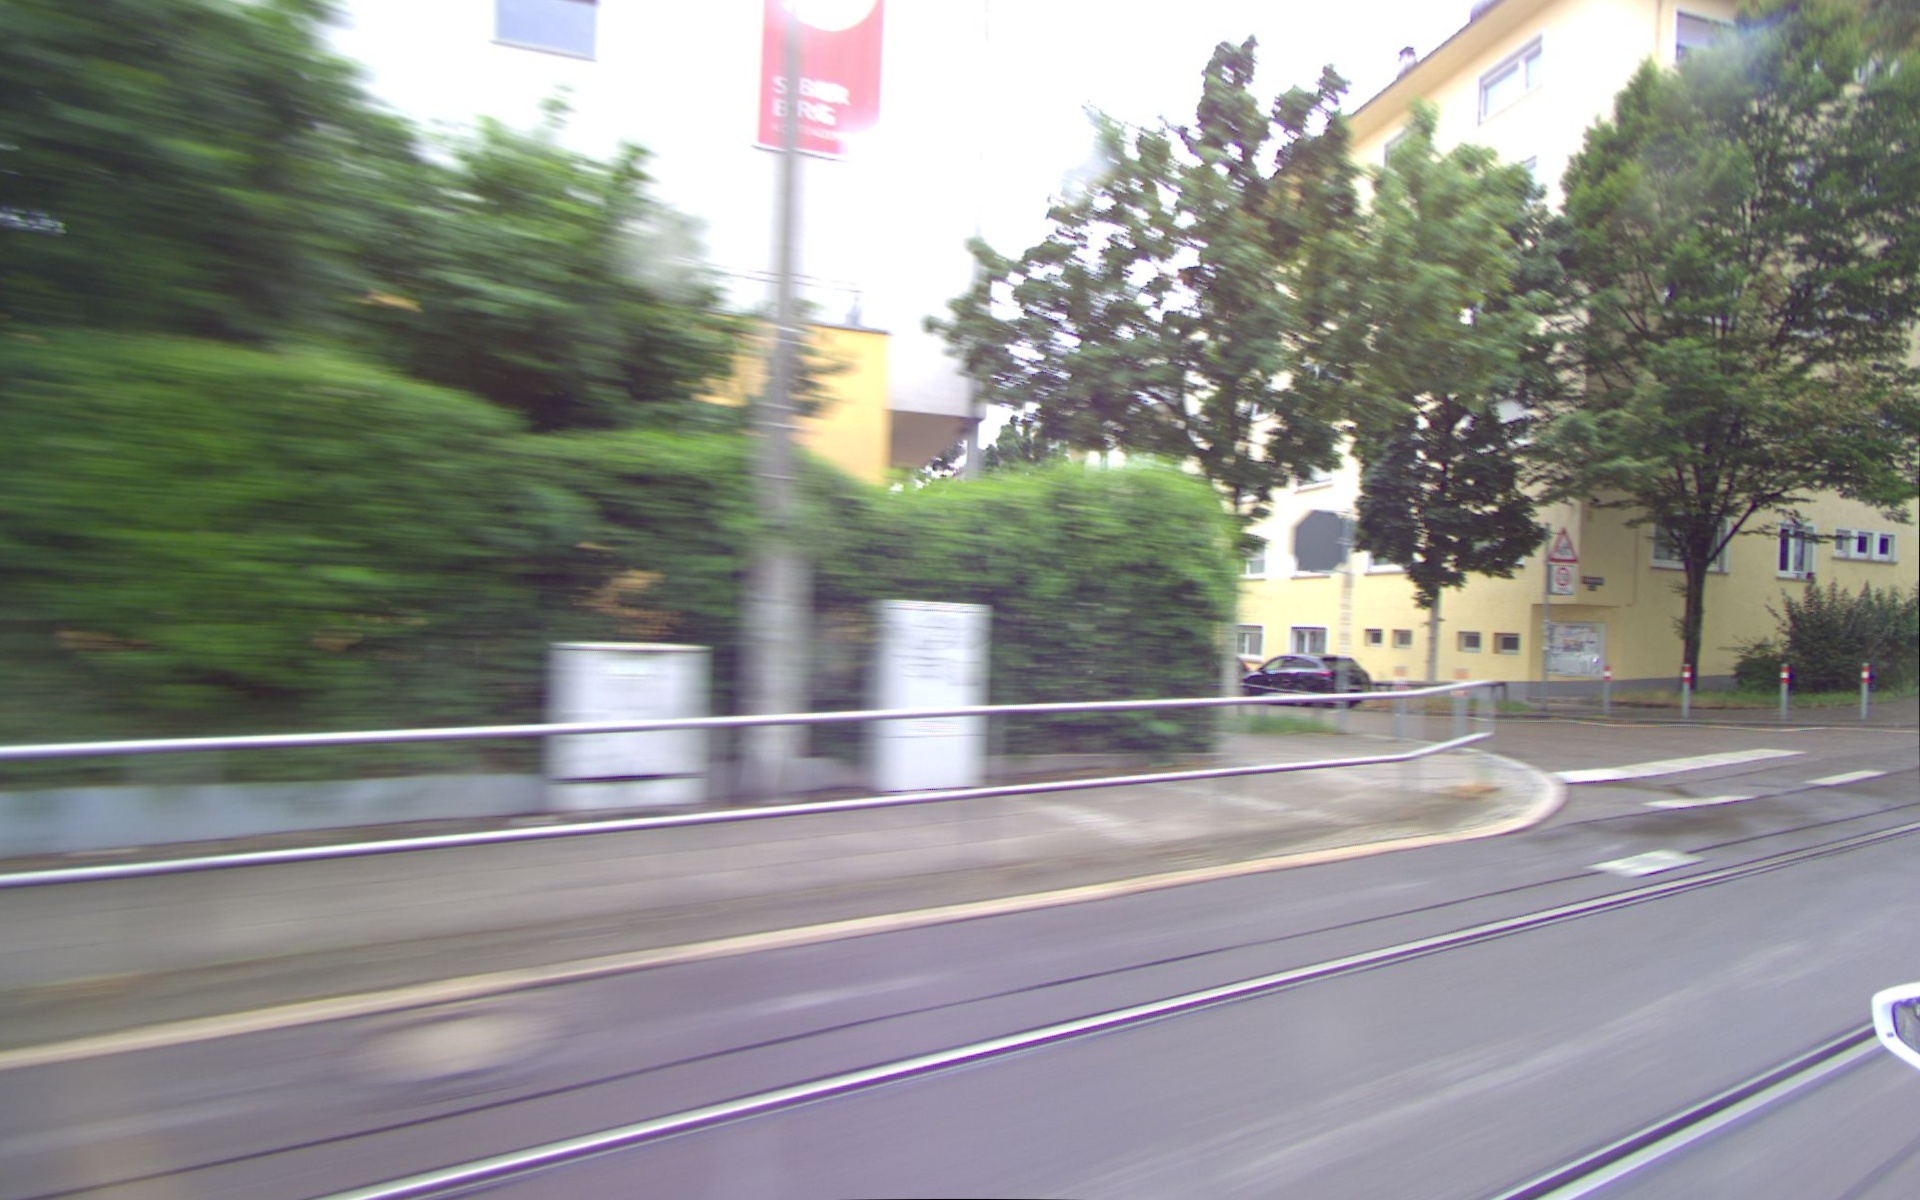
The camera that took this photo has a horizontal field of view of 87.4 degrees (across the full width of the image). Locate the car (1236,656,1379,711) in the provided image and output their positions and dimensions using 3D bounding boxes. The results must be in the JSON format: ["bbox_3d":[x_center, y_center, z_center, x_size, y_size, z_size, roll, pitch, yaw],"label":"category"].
[{"bbox_3d":[9.335,2.217,27.310,1.683,1.298,3.942,-1,-3,-16],"label":"car"}]

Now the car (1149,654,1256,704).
[{"bbox_3d":[7.960,2.574,33.351,1.683,1.391,4.037,-1,-1,-16],"label":"car"}]

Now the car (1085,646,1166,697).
[{"bbox_3d":[6.334,2.746,38.909,1.682,1.823,4.041,-1,-3,-13],"label":"car"}]
